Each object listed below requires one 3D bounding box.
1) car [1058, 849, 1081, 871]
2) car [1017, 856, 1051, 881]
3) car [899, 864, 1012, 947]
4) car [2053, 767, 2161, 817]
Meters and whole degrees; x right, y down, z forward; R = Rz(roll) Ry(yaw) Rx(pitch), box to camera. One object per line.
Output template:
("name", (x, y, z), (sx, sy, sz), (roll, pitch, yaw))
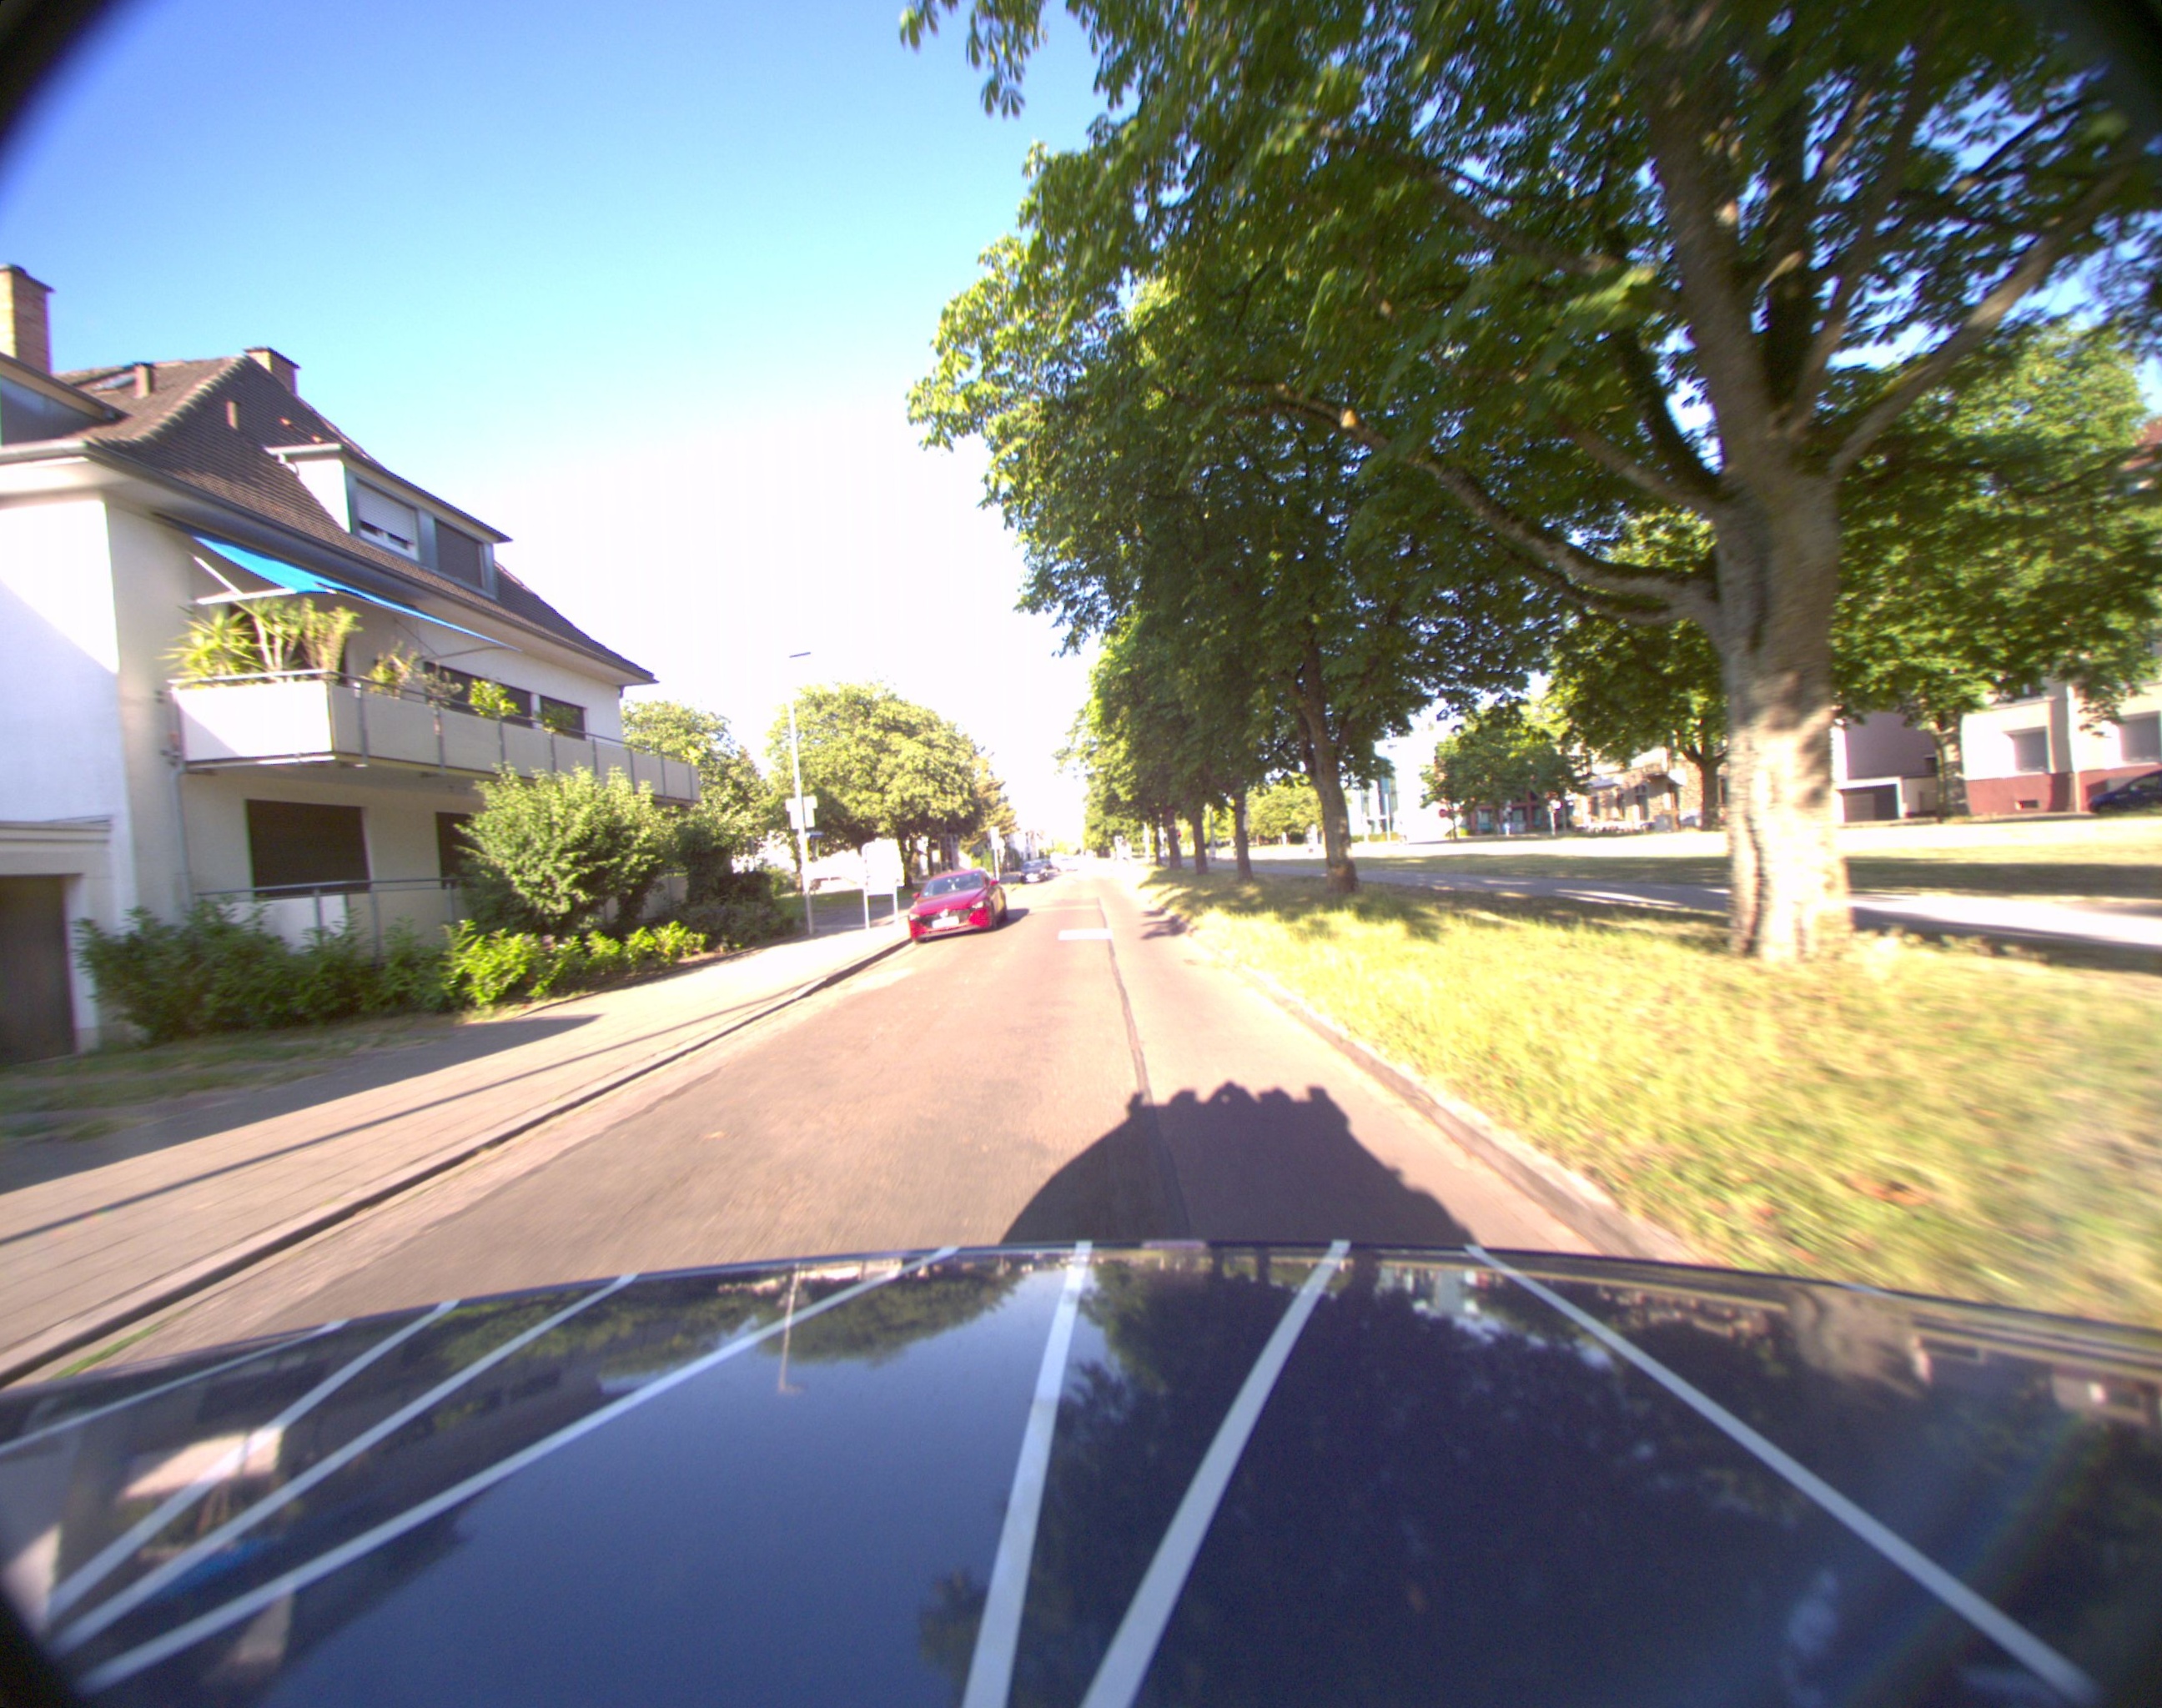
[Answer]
("car", (-1.132, 0.552, 76.845), (1.998, 2.002, 4.000), (-5, 1, 1))
("car", (-3.141, 0.941, 51.815), (1.998, 1.576, 4.346), (-1, 0, 1))
("car", (-2.762, 1.083, 17.671), (1.824, 1.486, 4.224), (-5, 0, 0))
("car", (40.158, -2.392, 28.129), (1.999, 1.680, 4.875), (-5, 0, -1))
